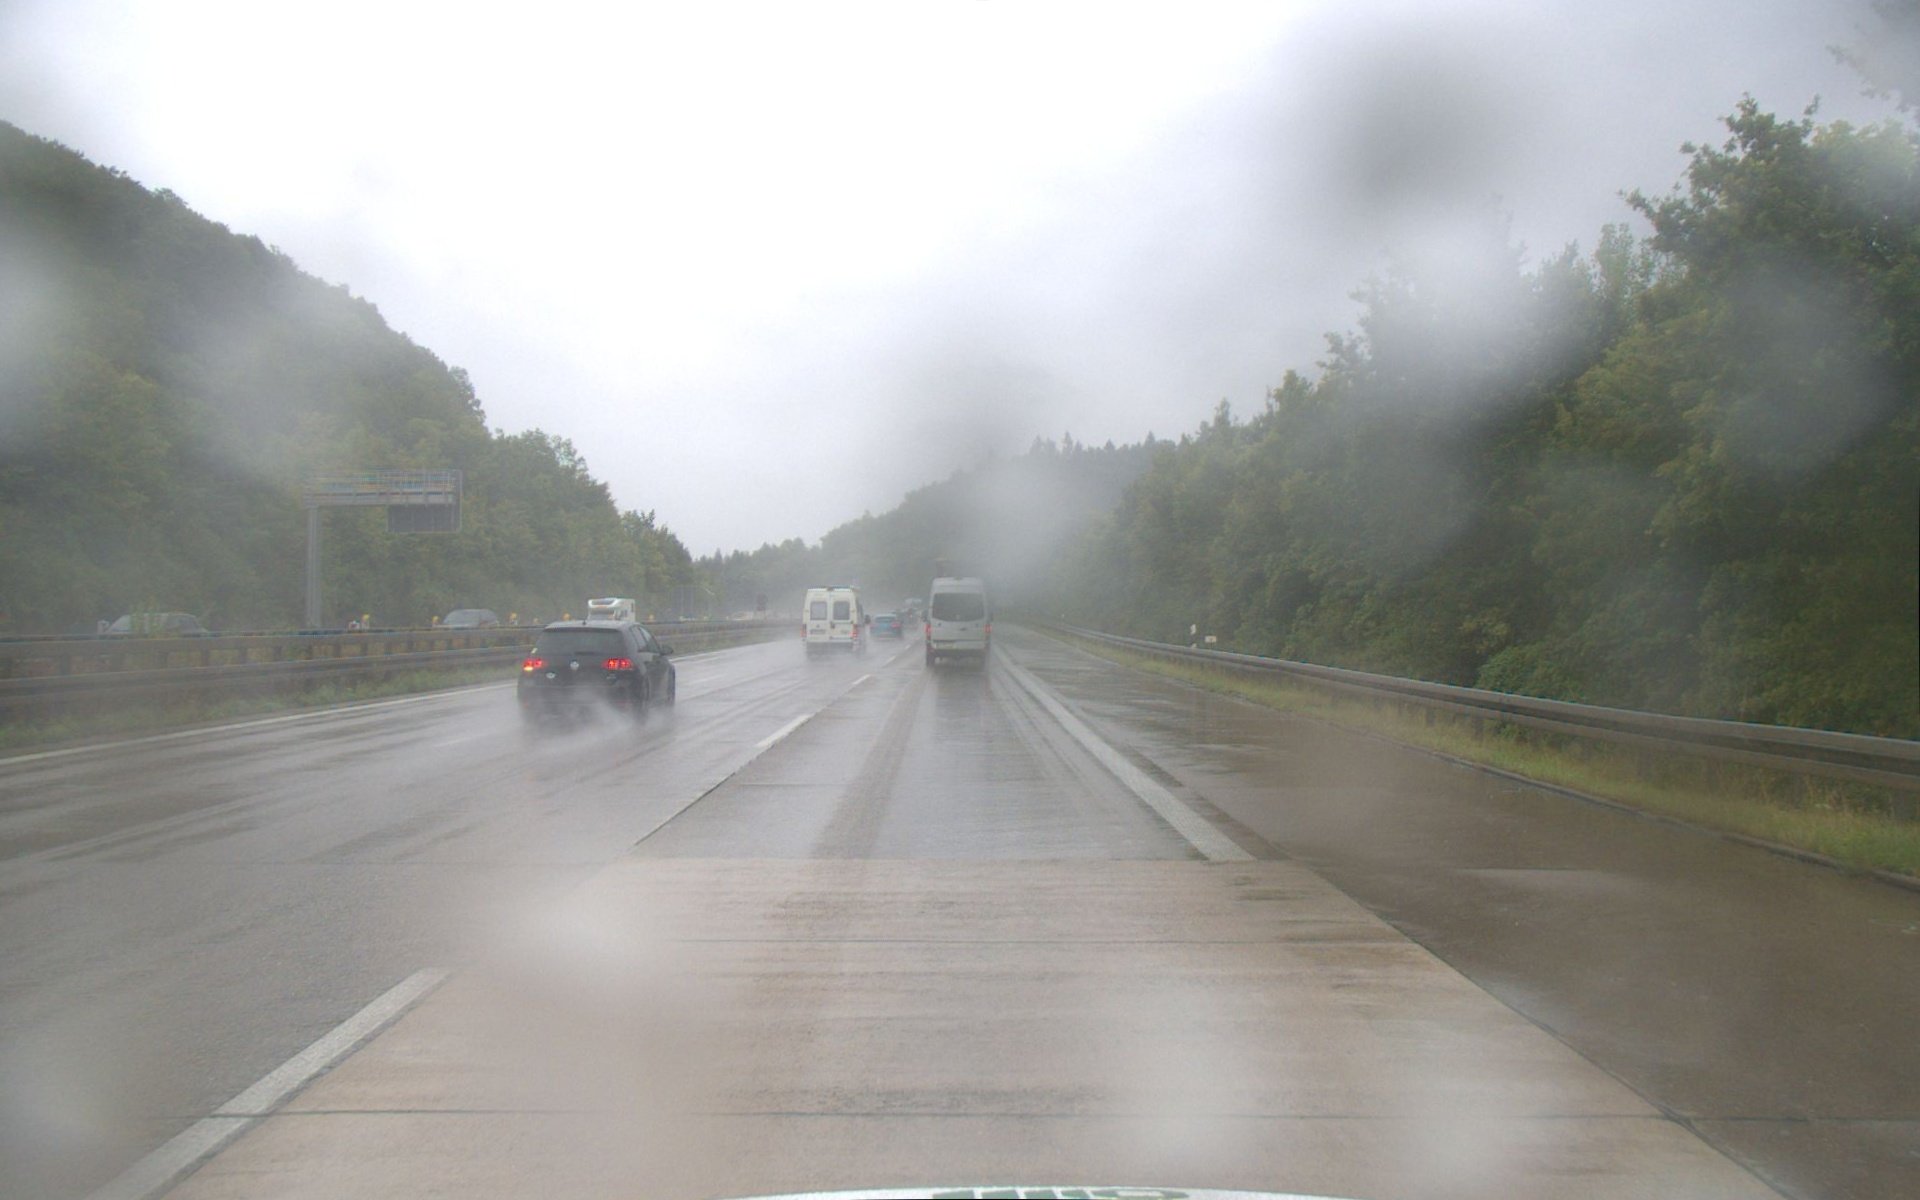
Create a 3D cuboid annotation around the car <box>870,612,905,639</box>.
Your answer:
[{"bbox_3d":[-3.971,1.385,90.013,1.819,1.362,4.348,2,0,-4],"label":"car"}]

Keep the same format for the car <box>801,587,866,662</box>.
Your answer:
[{"bbox_3d":[-4.461,0.857,59.094,1.957,2.474,5.788,2,0,-2],"label":"car"}]

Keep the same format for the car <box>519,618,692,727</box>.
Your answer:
[{"bbox_3d":[-5.029,0.985,24.009,1.705,1.412,4.319,-1,-1,-2],"label":"car"}]

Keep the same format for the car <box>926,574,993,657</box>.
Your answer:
[{"bbox_3d":[-0.056,0.484,51.109,1.861,2.375,5.248,2,0,-2],"label":"car"}]

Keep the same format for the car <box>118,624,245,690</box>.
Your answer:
[{"bbox_3d":[-21.212,1.519,45.243,1.762,1.691,3.997,0,0,-3],"label":"car"}]

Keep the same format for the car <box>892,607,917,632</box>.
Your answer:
[{"bbox_3d":[-4.300,1.478,127.660,1.831,1.841,4.187,2,0,-2],"label":"car"}]

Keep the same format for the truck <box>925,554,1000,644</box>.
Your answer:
[{"bbox_3d":[0.049,-0.164,80.582,3.316,4.037,8.666,-2,1,-1],"label":"truck"}]
